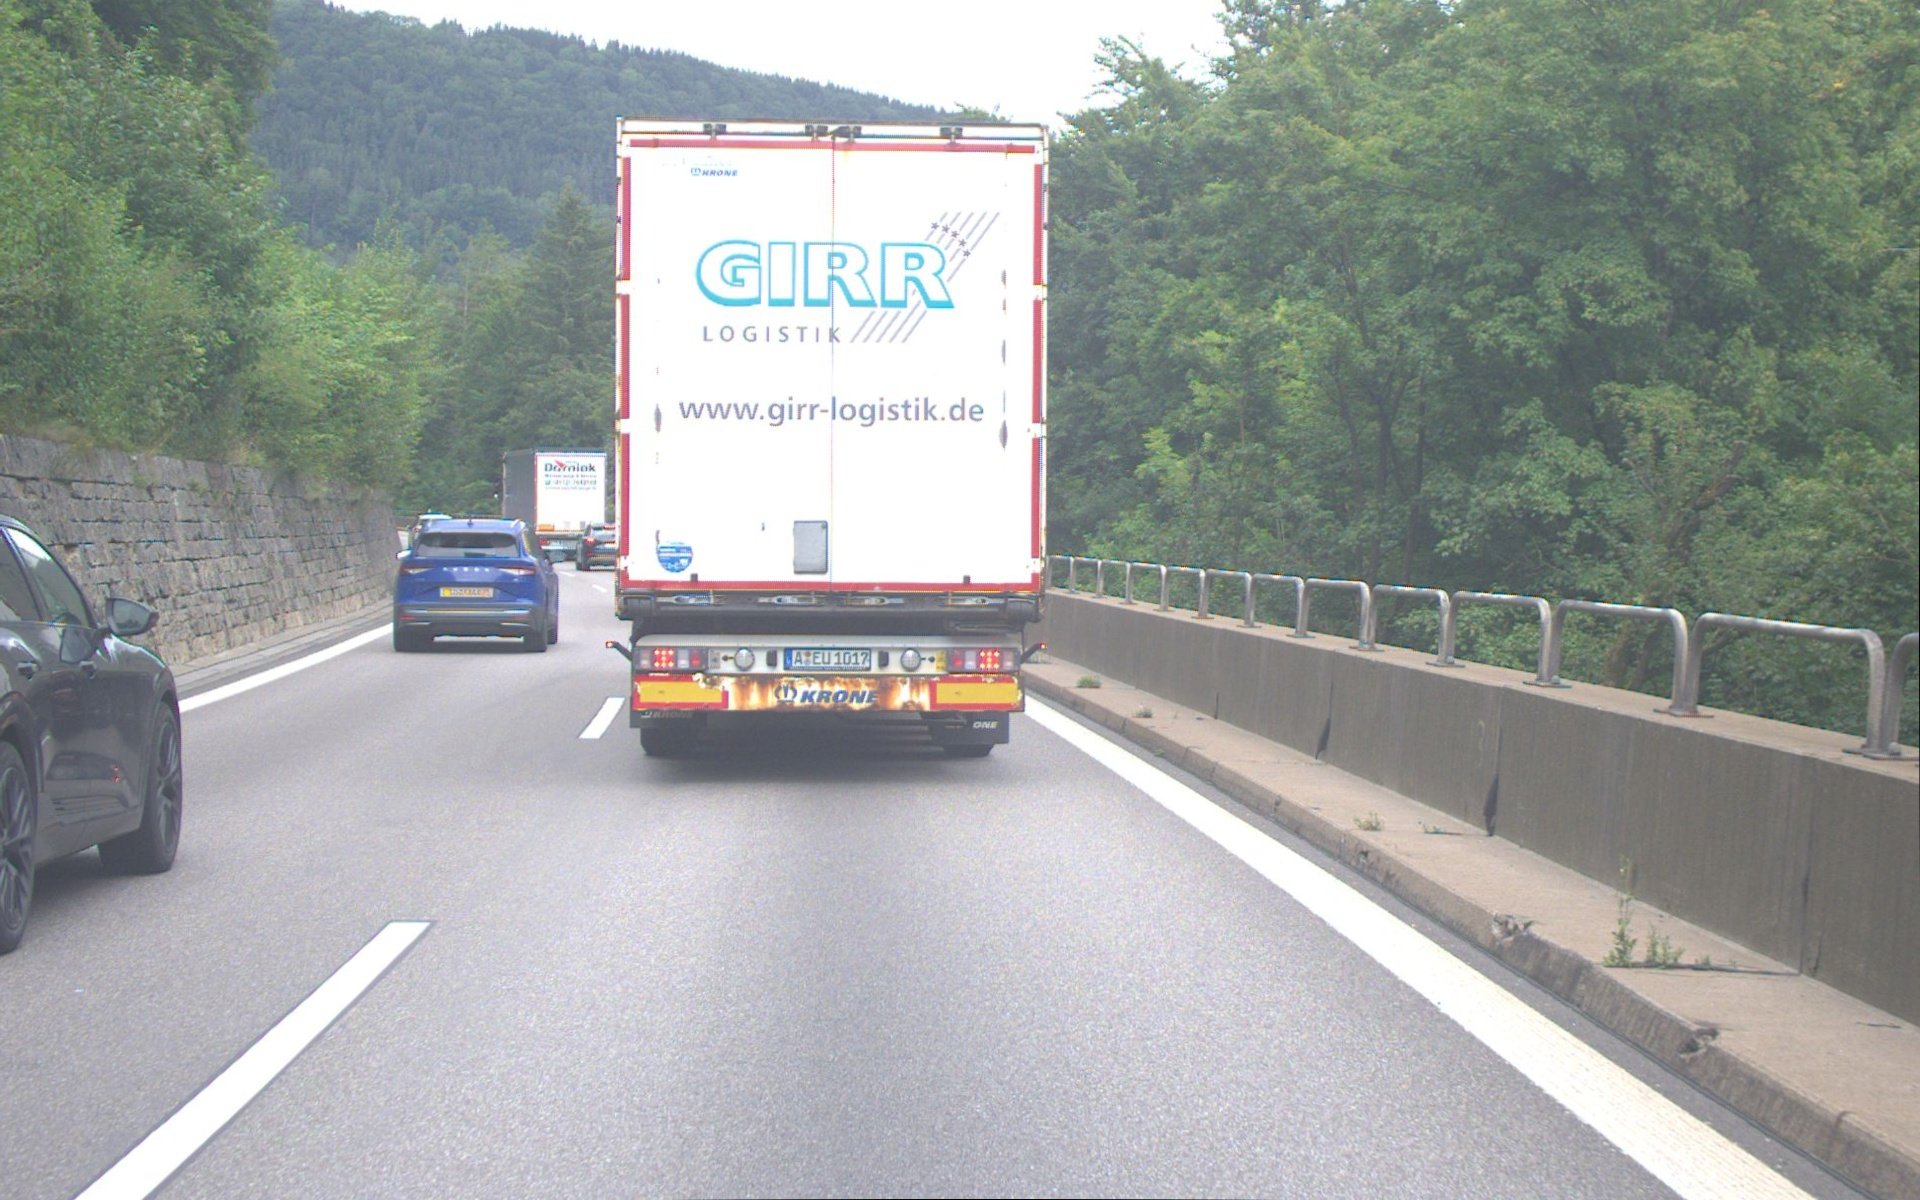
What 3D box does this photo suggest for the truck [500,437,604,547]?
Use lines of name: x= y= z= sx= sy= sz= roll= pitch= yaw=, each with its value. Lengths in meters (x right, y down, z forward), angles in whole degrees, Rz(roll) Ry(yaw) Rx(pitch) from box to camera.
truck: x=-15.184 y=-3.921 z=127.194 sx=2.633 sy=3.844 sz=12.363 roll=0 pitch=1 yaw=-12

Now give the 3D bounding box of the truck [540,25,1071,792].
truck: x=-1.342 y=-1.261 z=27.606 sx=3.084 sy=4.448 sz=15.158 roll=0 pitch=1 yaw=-3

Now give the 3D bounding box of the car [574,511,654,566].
car: x=-10.645 y=-1.886 z=105.545 sx=2.060 sy=1.648 sz=4.001 roll=0 pitch=1 yaw=-11

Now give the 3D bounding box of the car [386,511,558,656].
car: x=-6.025 y=-0.257 z=42.937 sx=1.993 sy=1.626 sz=5.010 roll=0 pitch=2 yaw=-7

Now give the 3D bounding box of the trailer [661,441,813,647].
trailer: x=-3.811 y=-0.931 z=56.992 sx=2.211 sy=3.037 sz=11.141 roll=1 pitch=1 yaw=-5

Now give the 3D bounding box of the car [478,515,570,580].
car: x=-11.288 y=-1.383 z=88.817 sx=1.993 sy=1.590 sz=4.355 roll=0 pitch=2 yaw=-12

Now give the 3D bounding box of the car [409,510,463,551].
car: x=-20.737 y=-2.778 z=136.051 sx=1.896 sy=1.545 sz=4.251 roll=1 pitch=1 yaw=-11

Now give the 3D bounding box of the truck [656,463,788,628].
truck: x=-4.383 y=-1.005 z=62.716 sx=2.208 sy=2.841 sz=5.005 roll=1 pitch=1 yaw=-6

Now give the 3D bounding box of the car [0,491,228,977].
car: x=-4.298 y=0.417 z=13.433 sx=1.993 sy=1.626 sz=5.009 roll=0 pitch=1 yaw=-2
